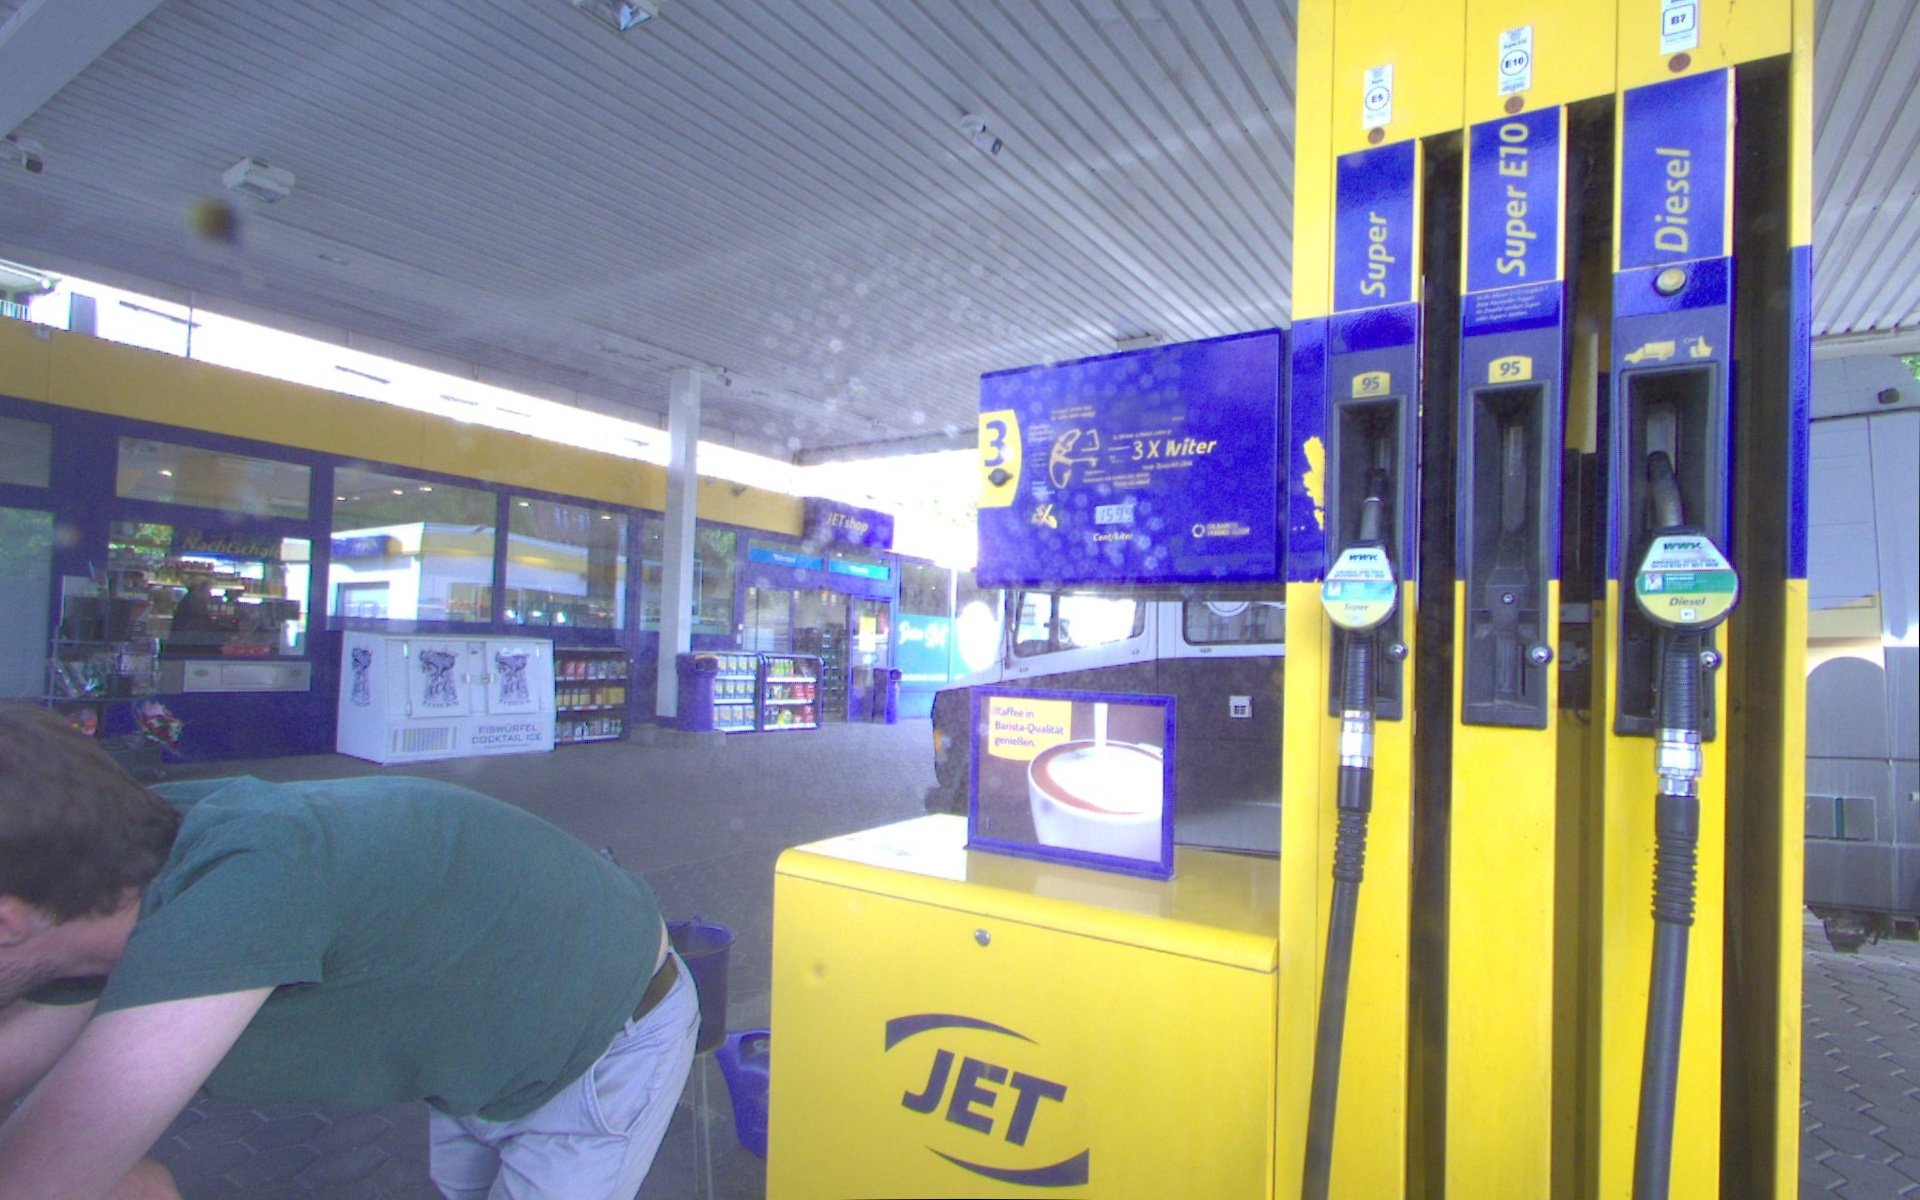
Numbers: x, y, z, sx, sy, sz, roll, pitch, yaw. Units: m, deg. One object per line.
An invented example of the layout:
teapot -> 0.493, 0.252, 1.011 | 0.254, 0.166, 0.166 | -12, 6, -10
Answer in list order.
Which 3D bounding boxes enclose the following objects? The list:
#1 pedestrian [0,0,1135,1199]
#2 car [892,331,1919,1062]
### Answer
pedestrian -> -0.519, 0.583, 1.078 | 0.981, 1.750, 1.175 | -2, -2, 36
car -> 2.353, 0.441, 5.995 | 5.271, 2.759, 2.193 | -1, -3, 34
